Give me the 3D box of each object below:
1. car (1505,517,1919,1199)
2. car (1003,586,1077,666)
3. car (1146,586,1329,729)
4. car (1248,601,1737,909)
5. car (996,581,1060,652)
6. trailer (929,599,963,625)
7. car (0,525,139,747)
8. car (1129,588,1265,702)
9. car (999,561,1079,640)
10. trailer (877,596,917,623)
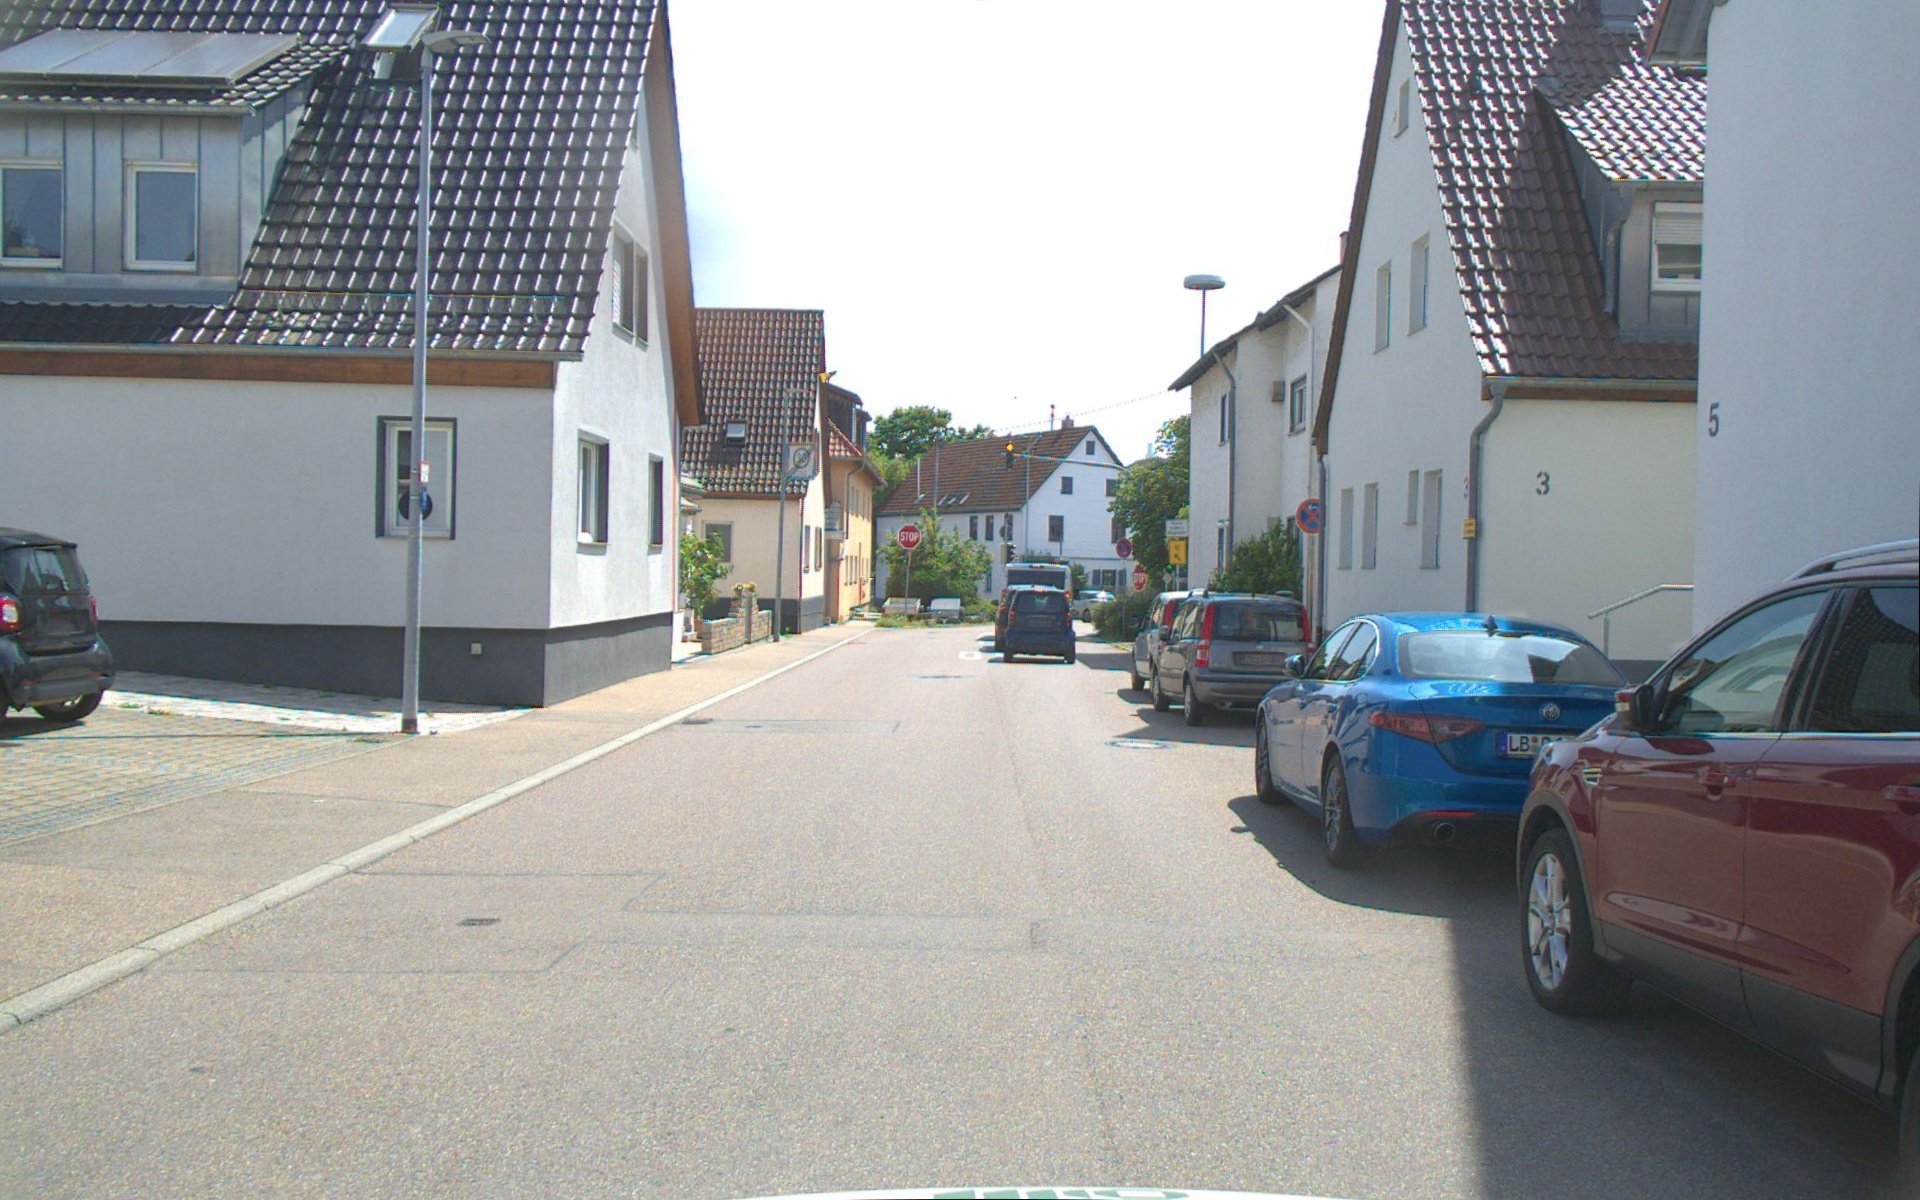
[{"bbox_3d":[3.133,0.698,4.649,1.837,1.730,4.184,2,1,1],"label":"car"},{"bbox_3d":[1.744,0.525,35.705,1.484,1.594,3.186,2,0,4],"label":"car"},{"bbox_3d":[3.334,0.636,20.426,1.536,1.572,3.448,2,0,-2],"label":"car"},{"bbox_3d":[3.054,0.774,10.551,1.726,1.448,4.593,2,0,2],"label":"car"},{"bbox_3d":[1.693,0.371,40.465,1.484,1.653,3.186,1,0,4],"label":"car"},{"bbox_3d":[-0.552,0.473,65.218,1.283,0.987,0.933,1,0,2],"label":"trailer"},{"bbox_3d":[-8.478,0.149,13.025,3.048,1.604,1.714,5,0,-1],"label":"car"},{"bbox_3d":[3.458,0.620,24.637,1.468,1.539,3.361,2,0,-1],"label":"car"},{"bbox_3d":[2.440,-0.002,49.724,2.084,2.196,4.739,1,0,6],"label":"car"},{"bbox_3d":[-2.488,0.375,65.388,1.471,0.943,1.012,3,0,2],"label":"trailer"}]
